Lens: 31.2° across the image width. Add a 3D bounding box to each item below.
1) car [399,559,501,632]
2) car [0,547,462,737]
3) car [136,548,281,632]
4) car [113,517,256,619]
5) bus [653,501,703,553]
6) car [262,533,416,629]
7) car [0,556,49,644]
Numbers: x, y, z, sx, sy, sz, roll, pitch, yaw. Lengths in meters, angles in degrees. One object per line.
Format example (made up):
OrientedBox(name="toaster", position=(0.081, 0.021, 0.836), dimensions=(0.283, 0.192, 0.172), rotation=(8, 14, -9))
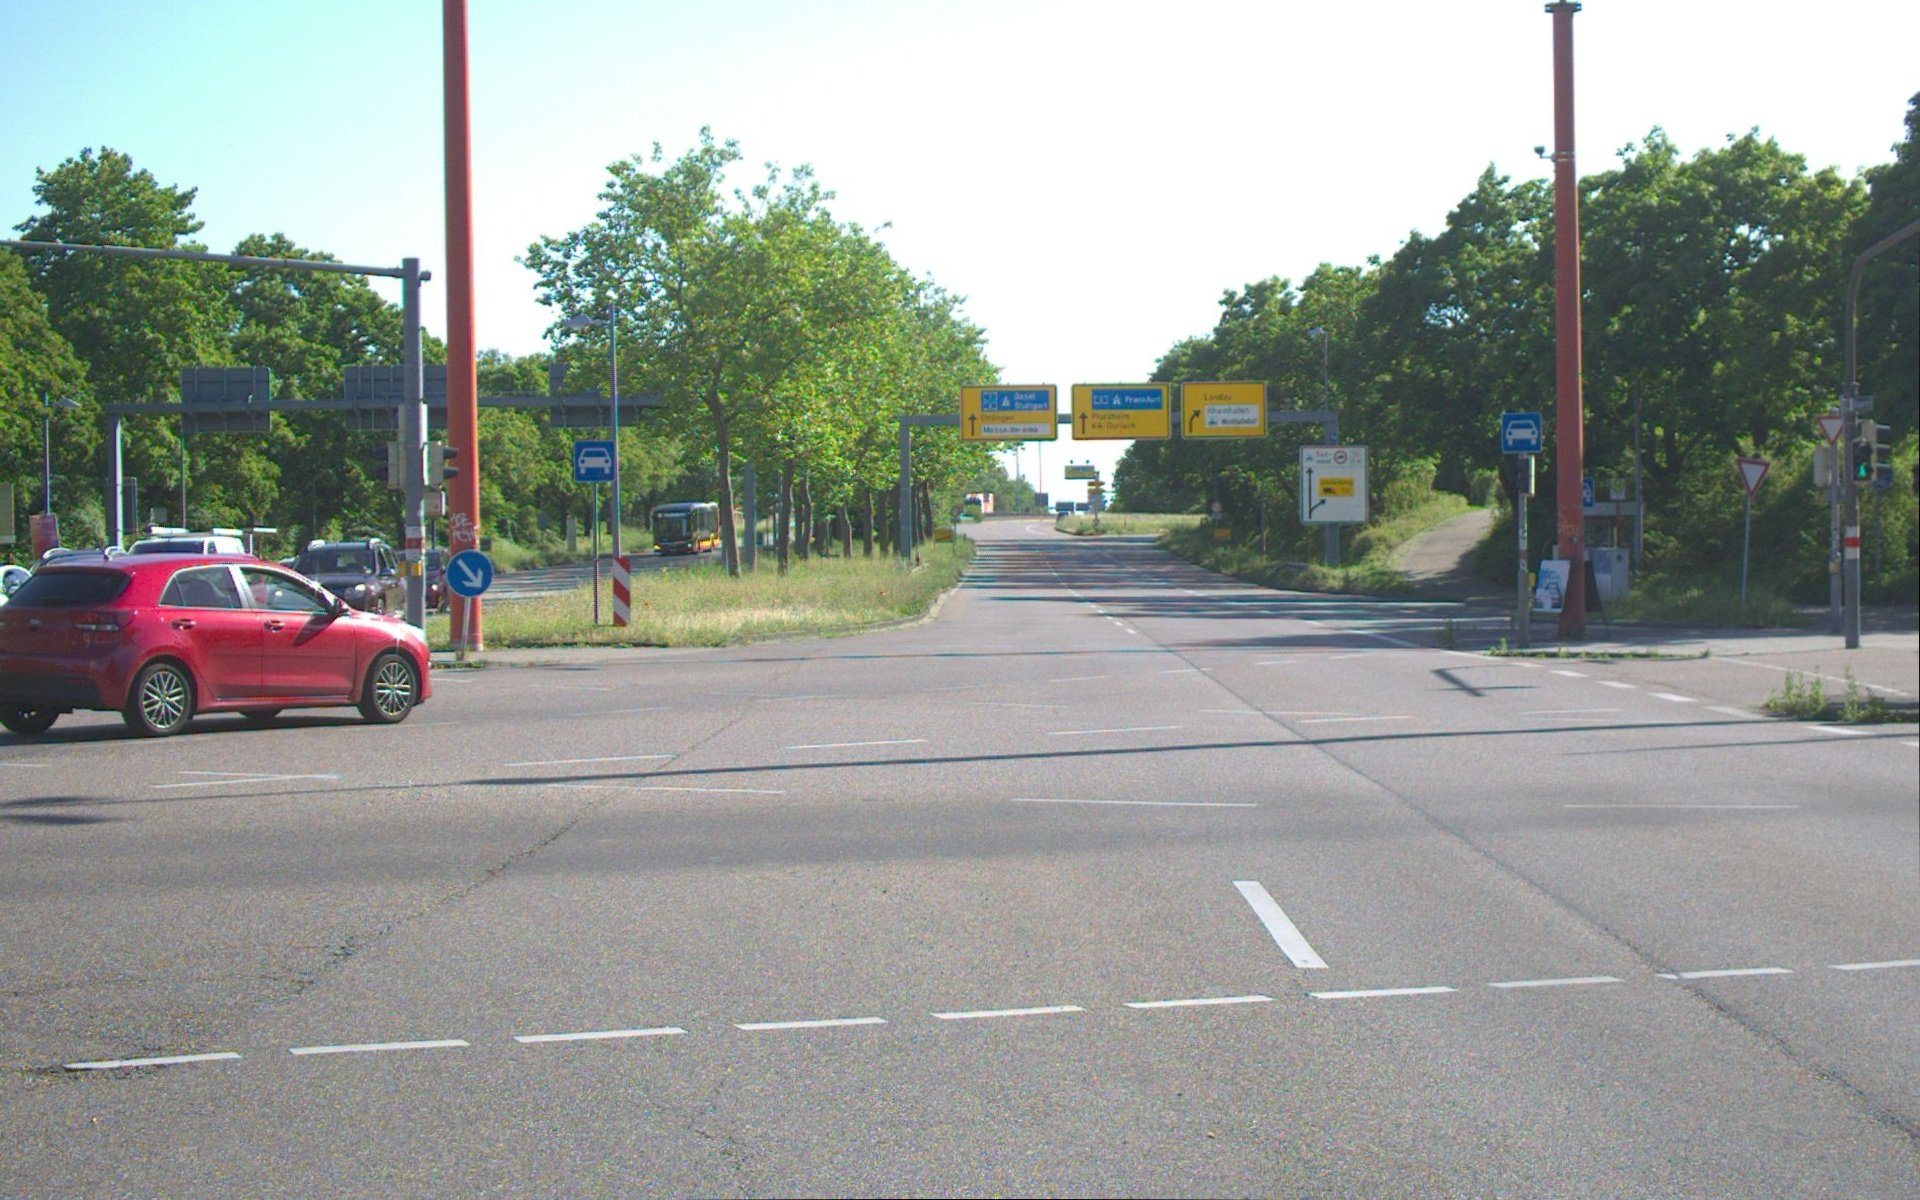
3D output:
OrientedBox(name="car", position=(-11.886, -0.136, 80.276), dimensions=(1.819, 1.623, 4.000), rotation=(-1, 1, -1))
OrientedBox(name="car", position=(-6.187, 0.294, 28.506), dimensions=(1.684, 1.430, 4.056), rotation=(0, 1, 37))
OrientedBox(name="car", position=(-12.696, -0.187, 58.270), dimensions=(1.739, 1.357, 3.613), rotation=(-1, 1, -1))
OrientedBox(name="car", position=(-15.981, -0.672, 71.060), dimensions=(1.893, 2.019, 5.223), rotation=(0, 1, -1))
OrientedBox(name="bus", position=(-18.312, -4.726, 223.547), dimensions=(2.492, 3.227, 10.001), rotation=(-1, 1, -1))
OrientedBox(name="car", position=(-10.138, -0.337, 56.348), dimensions=(1.819, 1.503, 4.000), rotation=(-1, 1, -1))
OrientedBox(name="car", position=(-16.426, -0.015, 57.046), dimensions=(1.739, 1.406, 3.613), rotation=(-1, 1, -1))
